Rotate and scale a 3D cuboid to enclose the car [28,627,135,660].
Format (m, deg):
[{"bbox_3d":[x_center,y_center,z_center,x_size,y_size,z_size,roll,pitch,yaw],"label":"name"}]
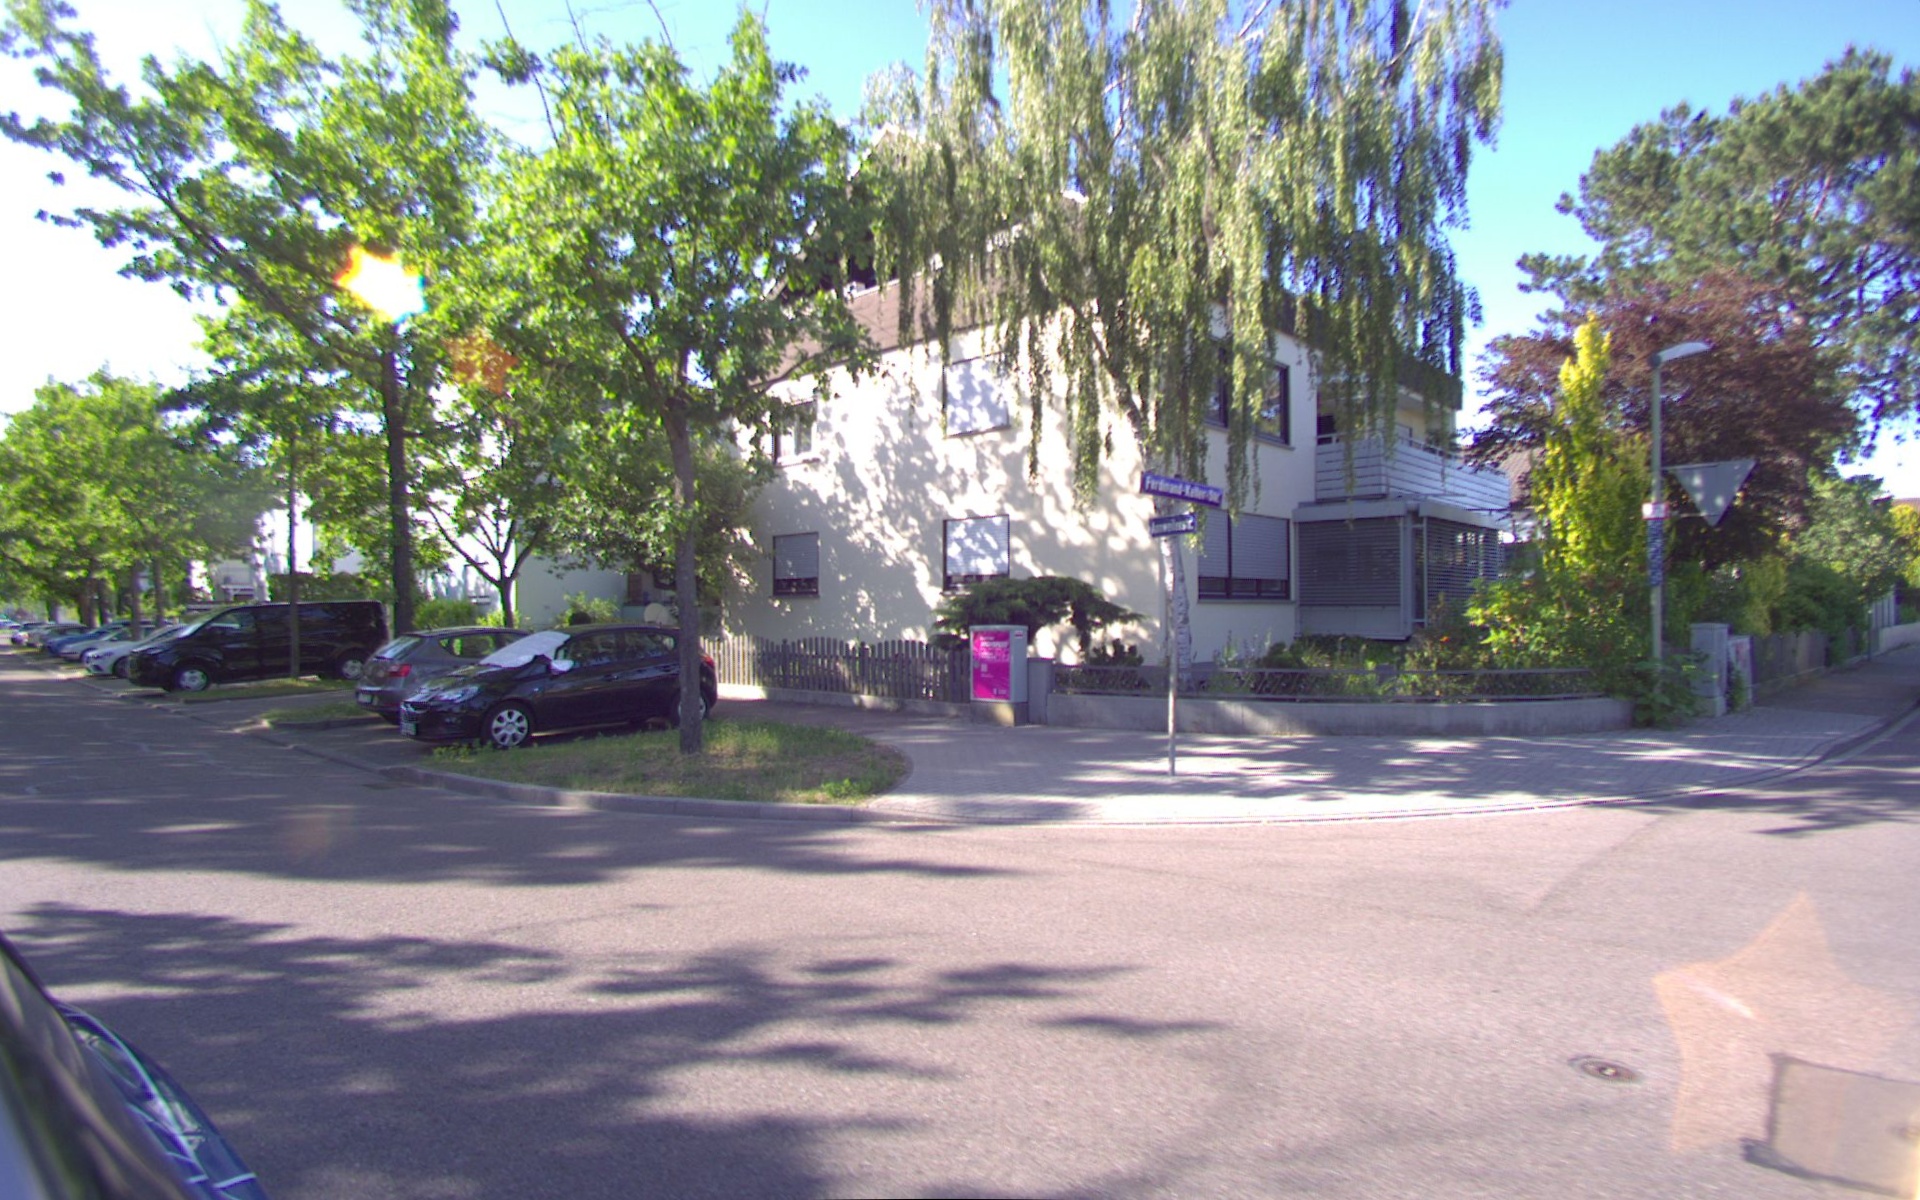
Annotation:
[{"bbox_3d":[-45.678,2.215,52.672,1.810,1.434,3.990,-2,1,43],"label":"car"}]

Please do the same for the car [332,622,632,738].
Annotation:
[{"bbox_3d":[-7.238,1.122,15.581,1.772,1.430,3.778,-2,0,42],"label":"car"}]

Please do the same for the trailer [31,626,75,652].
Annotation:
[{"bbox_3d":[-61.932,2.662,69.149,2.208,1.686,1.477,0,-2,-40],"label":"trailer"}]

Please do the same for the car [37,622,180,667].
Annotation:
[{"bbox_3d":[-35.651,1.825,42.454,4.471,1.643,1.939,-2,0,-44],"label":"car"}]

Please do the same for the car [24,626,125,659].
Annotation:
[{"bbox_3d":[-49.357,2.316,56.468,4.138,1.579,1.793,-2,0,-43],"label":"car"}]

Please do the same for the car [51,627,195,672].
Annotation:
[{"bbox_3d":[-32.211,1.858,39.013,1.647,1.503,4.135,-1,0,44],"label":"car"}]

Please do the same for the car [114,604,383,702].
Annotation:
[{"bbox_3d":[-16.254,1.123,23.322,2.018,1.931,4.728,-2,-1,42],"label":"car"}]

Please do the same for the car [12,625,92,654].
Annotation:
[{"bbox_3d":[-65.420,2.831,72.951,2.000,1.959,4.190,-1,-1,43],"label":"car"}]

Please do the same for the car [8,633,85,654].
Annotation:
[{"bbox_3d":[-72.299,3.420,80.148,1.837,1.511,4.427,-2,-1,43],"label":"car"}]

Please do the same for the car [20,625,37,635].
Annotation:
[{"bbox_3d":[-149.029,4.789,161.886,1.715,1.552,3.954,0,-1,-38],"label":"car"}]

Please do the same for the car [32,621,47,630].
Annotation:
[{"bbox_3d":[-164.589,4.574,180.934,1.850,1.489,3.856,0,-1,-41],"label":"car"}]

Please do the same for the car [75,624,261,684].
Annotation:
[{"bbox_3d":[-23.788,1.566,30.501,1.769,1.489,4.228,-2,0,44],"label":"car"}]

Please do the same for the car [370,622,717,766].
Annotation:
[{"bbox_3d":[-5.298,1.089,13.202,1.714,1.470,3.814,-2,0,44],"label":"car"}]
